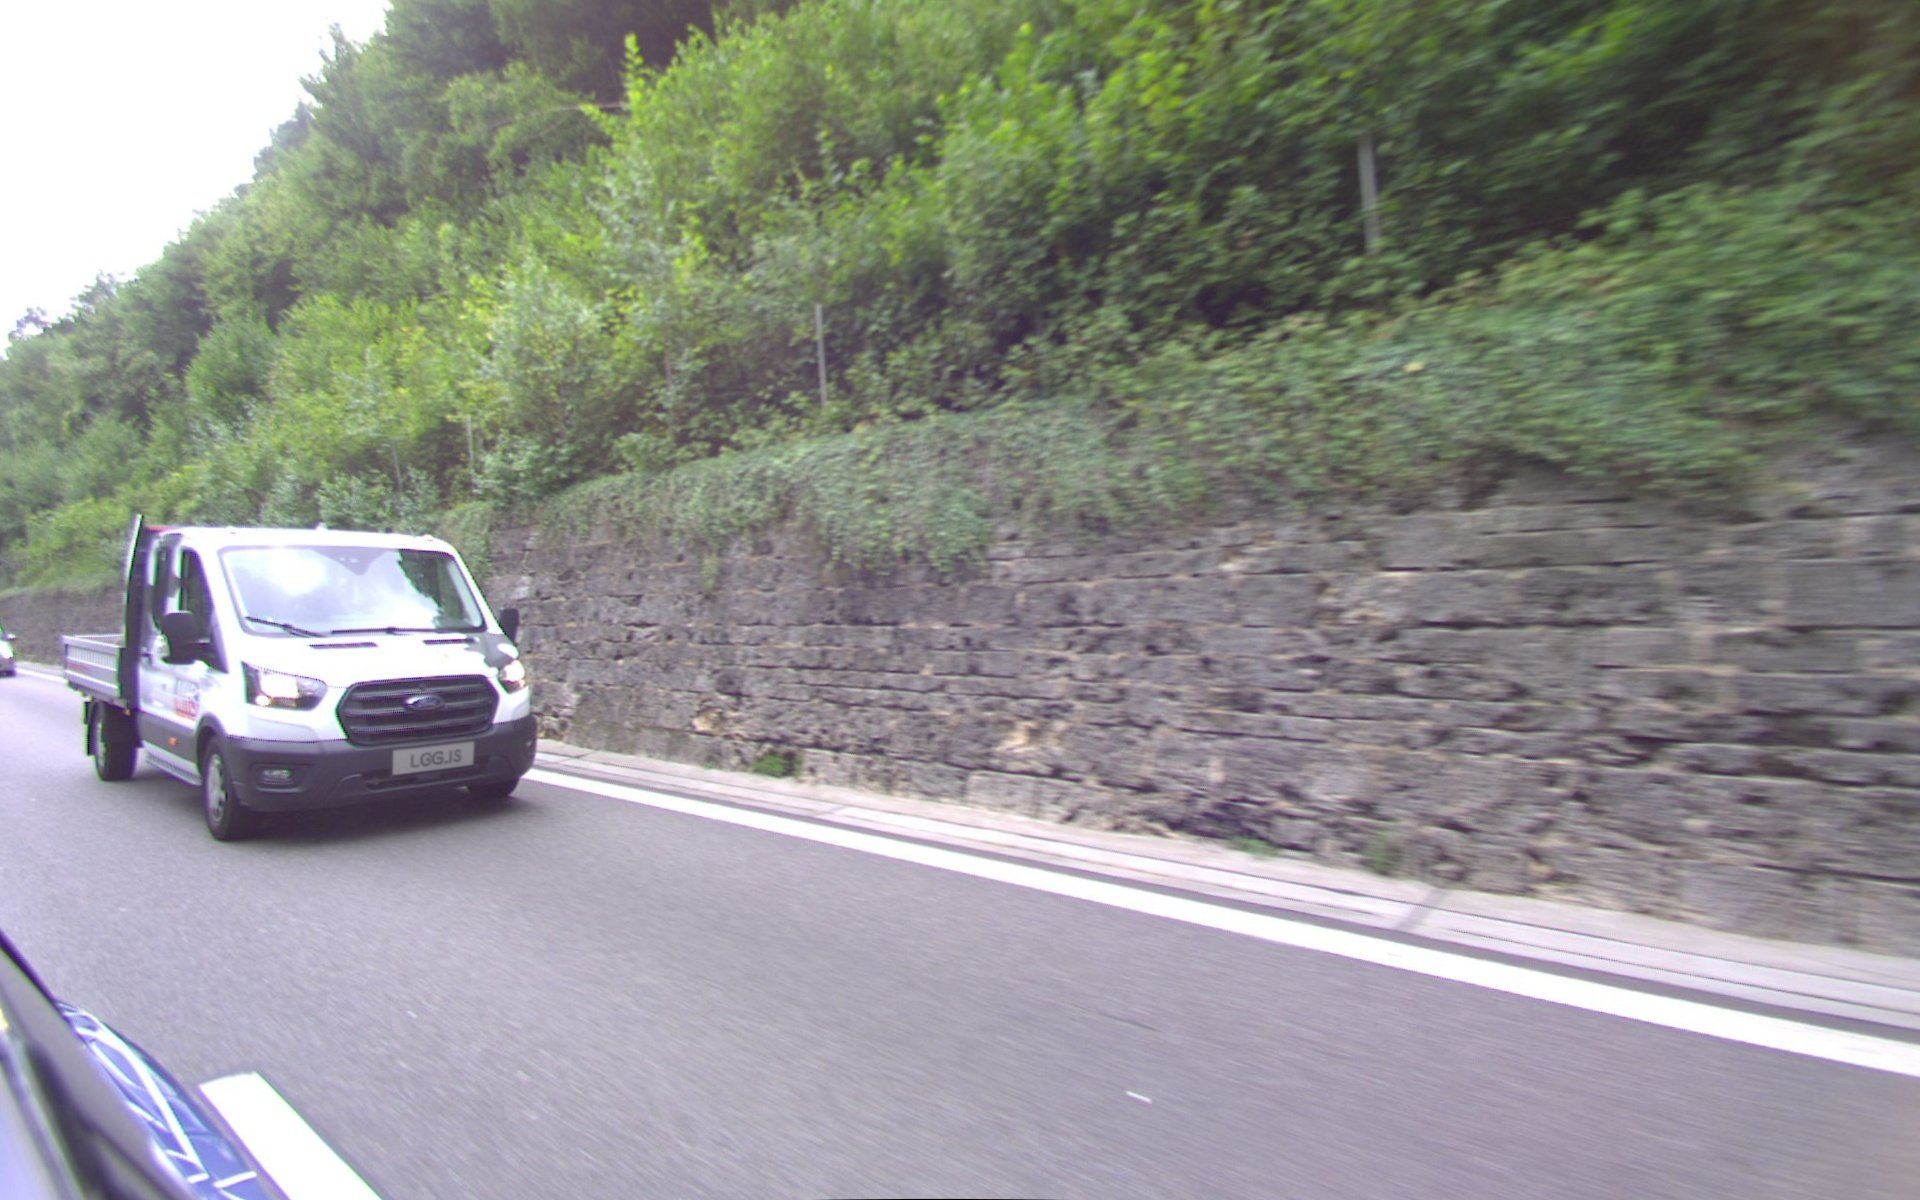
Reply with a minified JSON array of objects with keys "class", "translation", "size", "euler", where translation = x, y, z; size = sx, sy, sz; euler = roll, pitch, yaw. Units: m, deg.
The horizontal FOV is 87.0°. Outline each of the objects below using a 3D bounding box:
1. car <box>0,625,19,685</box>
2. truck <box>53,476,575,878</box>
[{"class":"car","translation":[-27.485,1.519,27.946],"size":[4.599,1.589,1.689],"euler":[-2,-1,41]},{"class":"truck","translation":[-5.914,0.501,8.692],"size":[6.582,2.297,1.973],"euler":[-2,-1,41]}]
